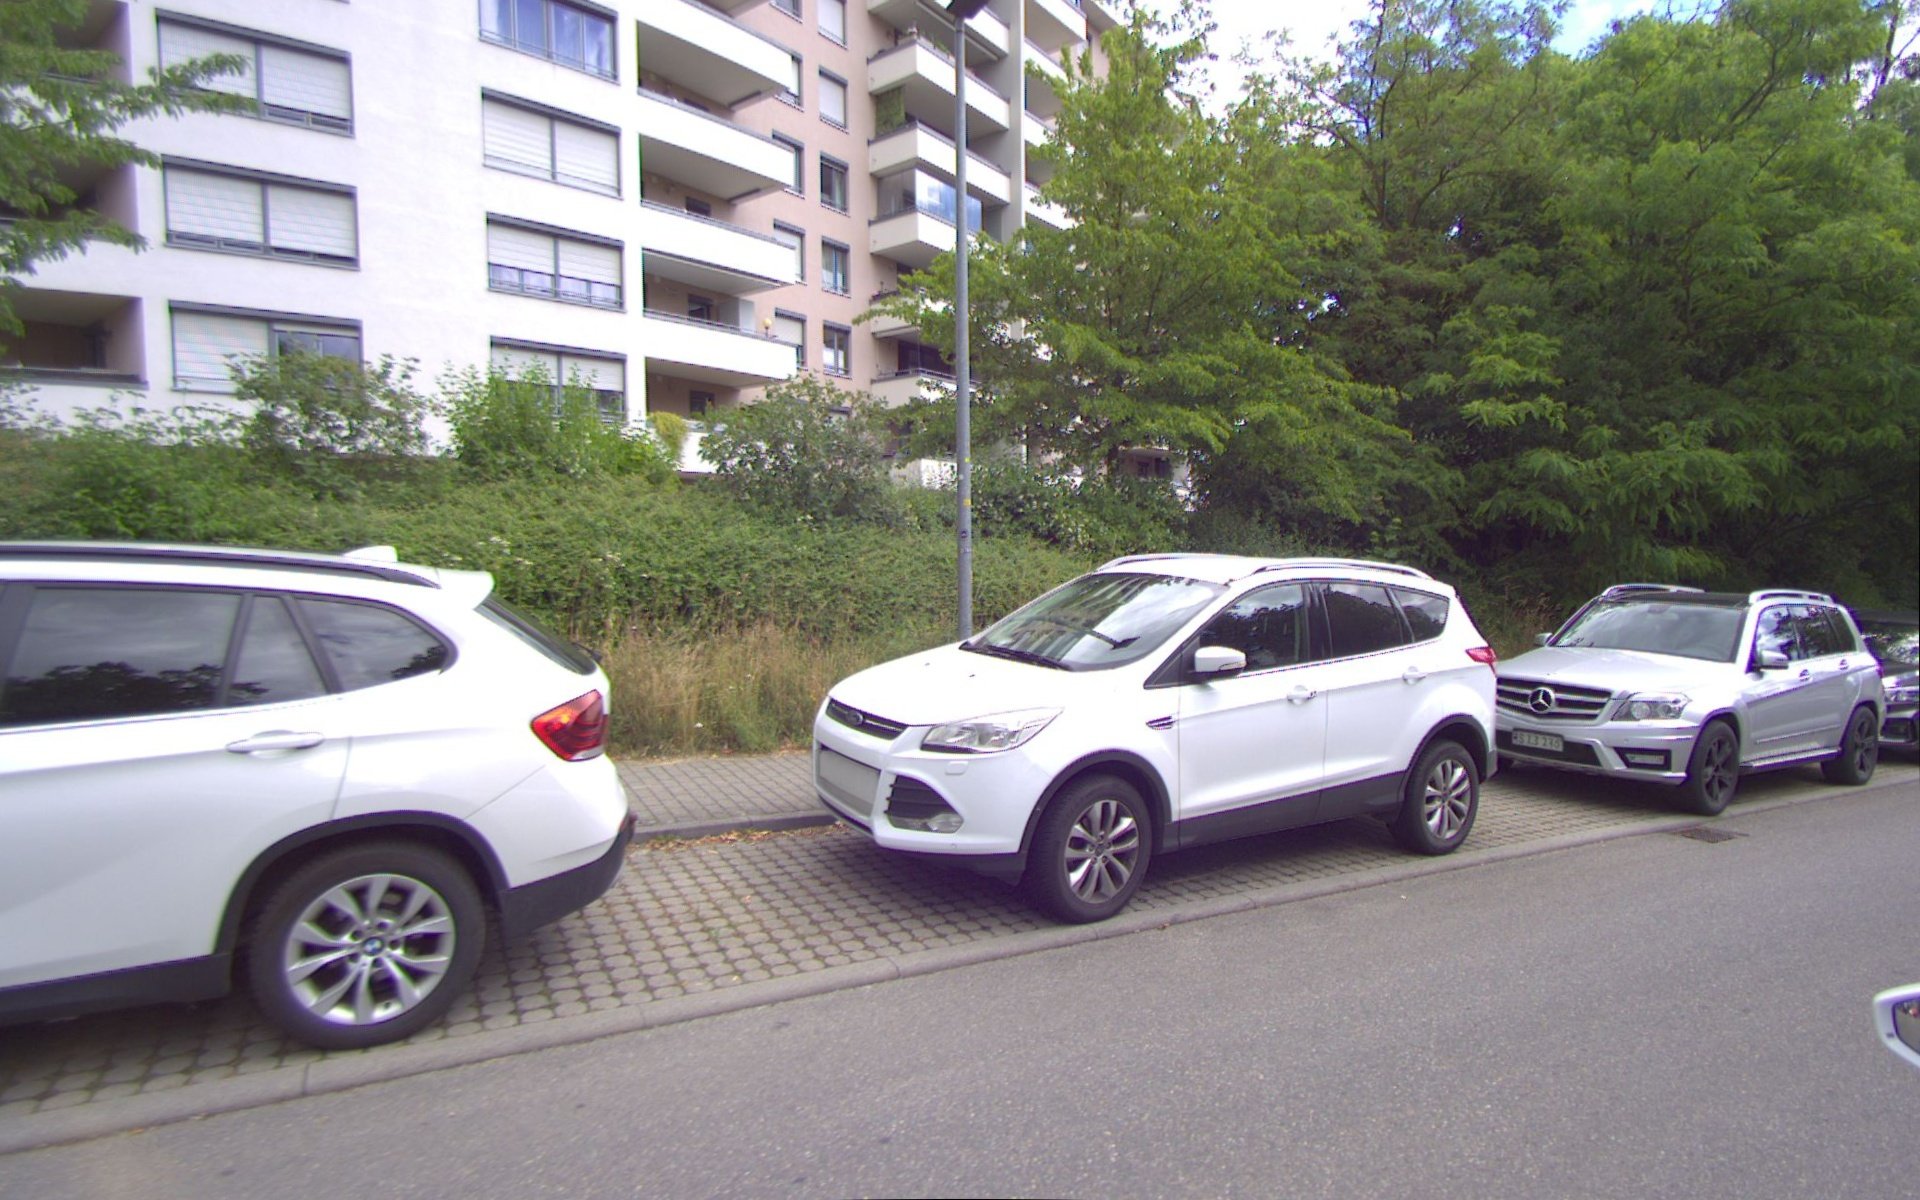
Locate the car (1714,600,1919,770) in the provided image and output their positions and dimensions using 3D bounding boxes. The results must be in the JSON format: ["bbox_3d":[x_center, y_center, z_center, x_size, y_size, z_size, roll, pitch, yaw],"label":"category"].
[{"bbox_3d":[10.591,0.818,11.299,4.402,1.485,1.682,0,4,-30],"label":"car"}]

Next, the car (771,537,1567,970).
[{"bbox_3d":[1.311,0.569,5.825,4.383,1.687,1.798,0,4,-30],"label":"car"}]

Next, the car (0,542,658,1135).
[{"bbox_3d":[-3.272,0.604,3.184,4.179,1.532,1.682,0,4,-29],"label":"car"}]

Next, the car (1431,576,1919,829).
[{"bbox_3d":[6.338,0.684,8.695,4.424,1.637,1.790,0,4,-29],"label":"car"}]
